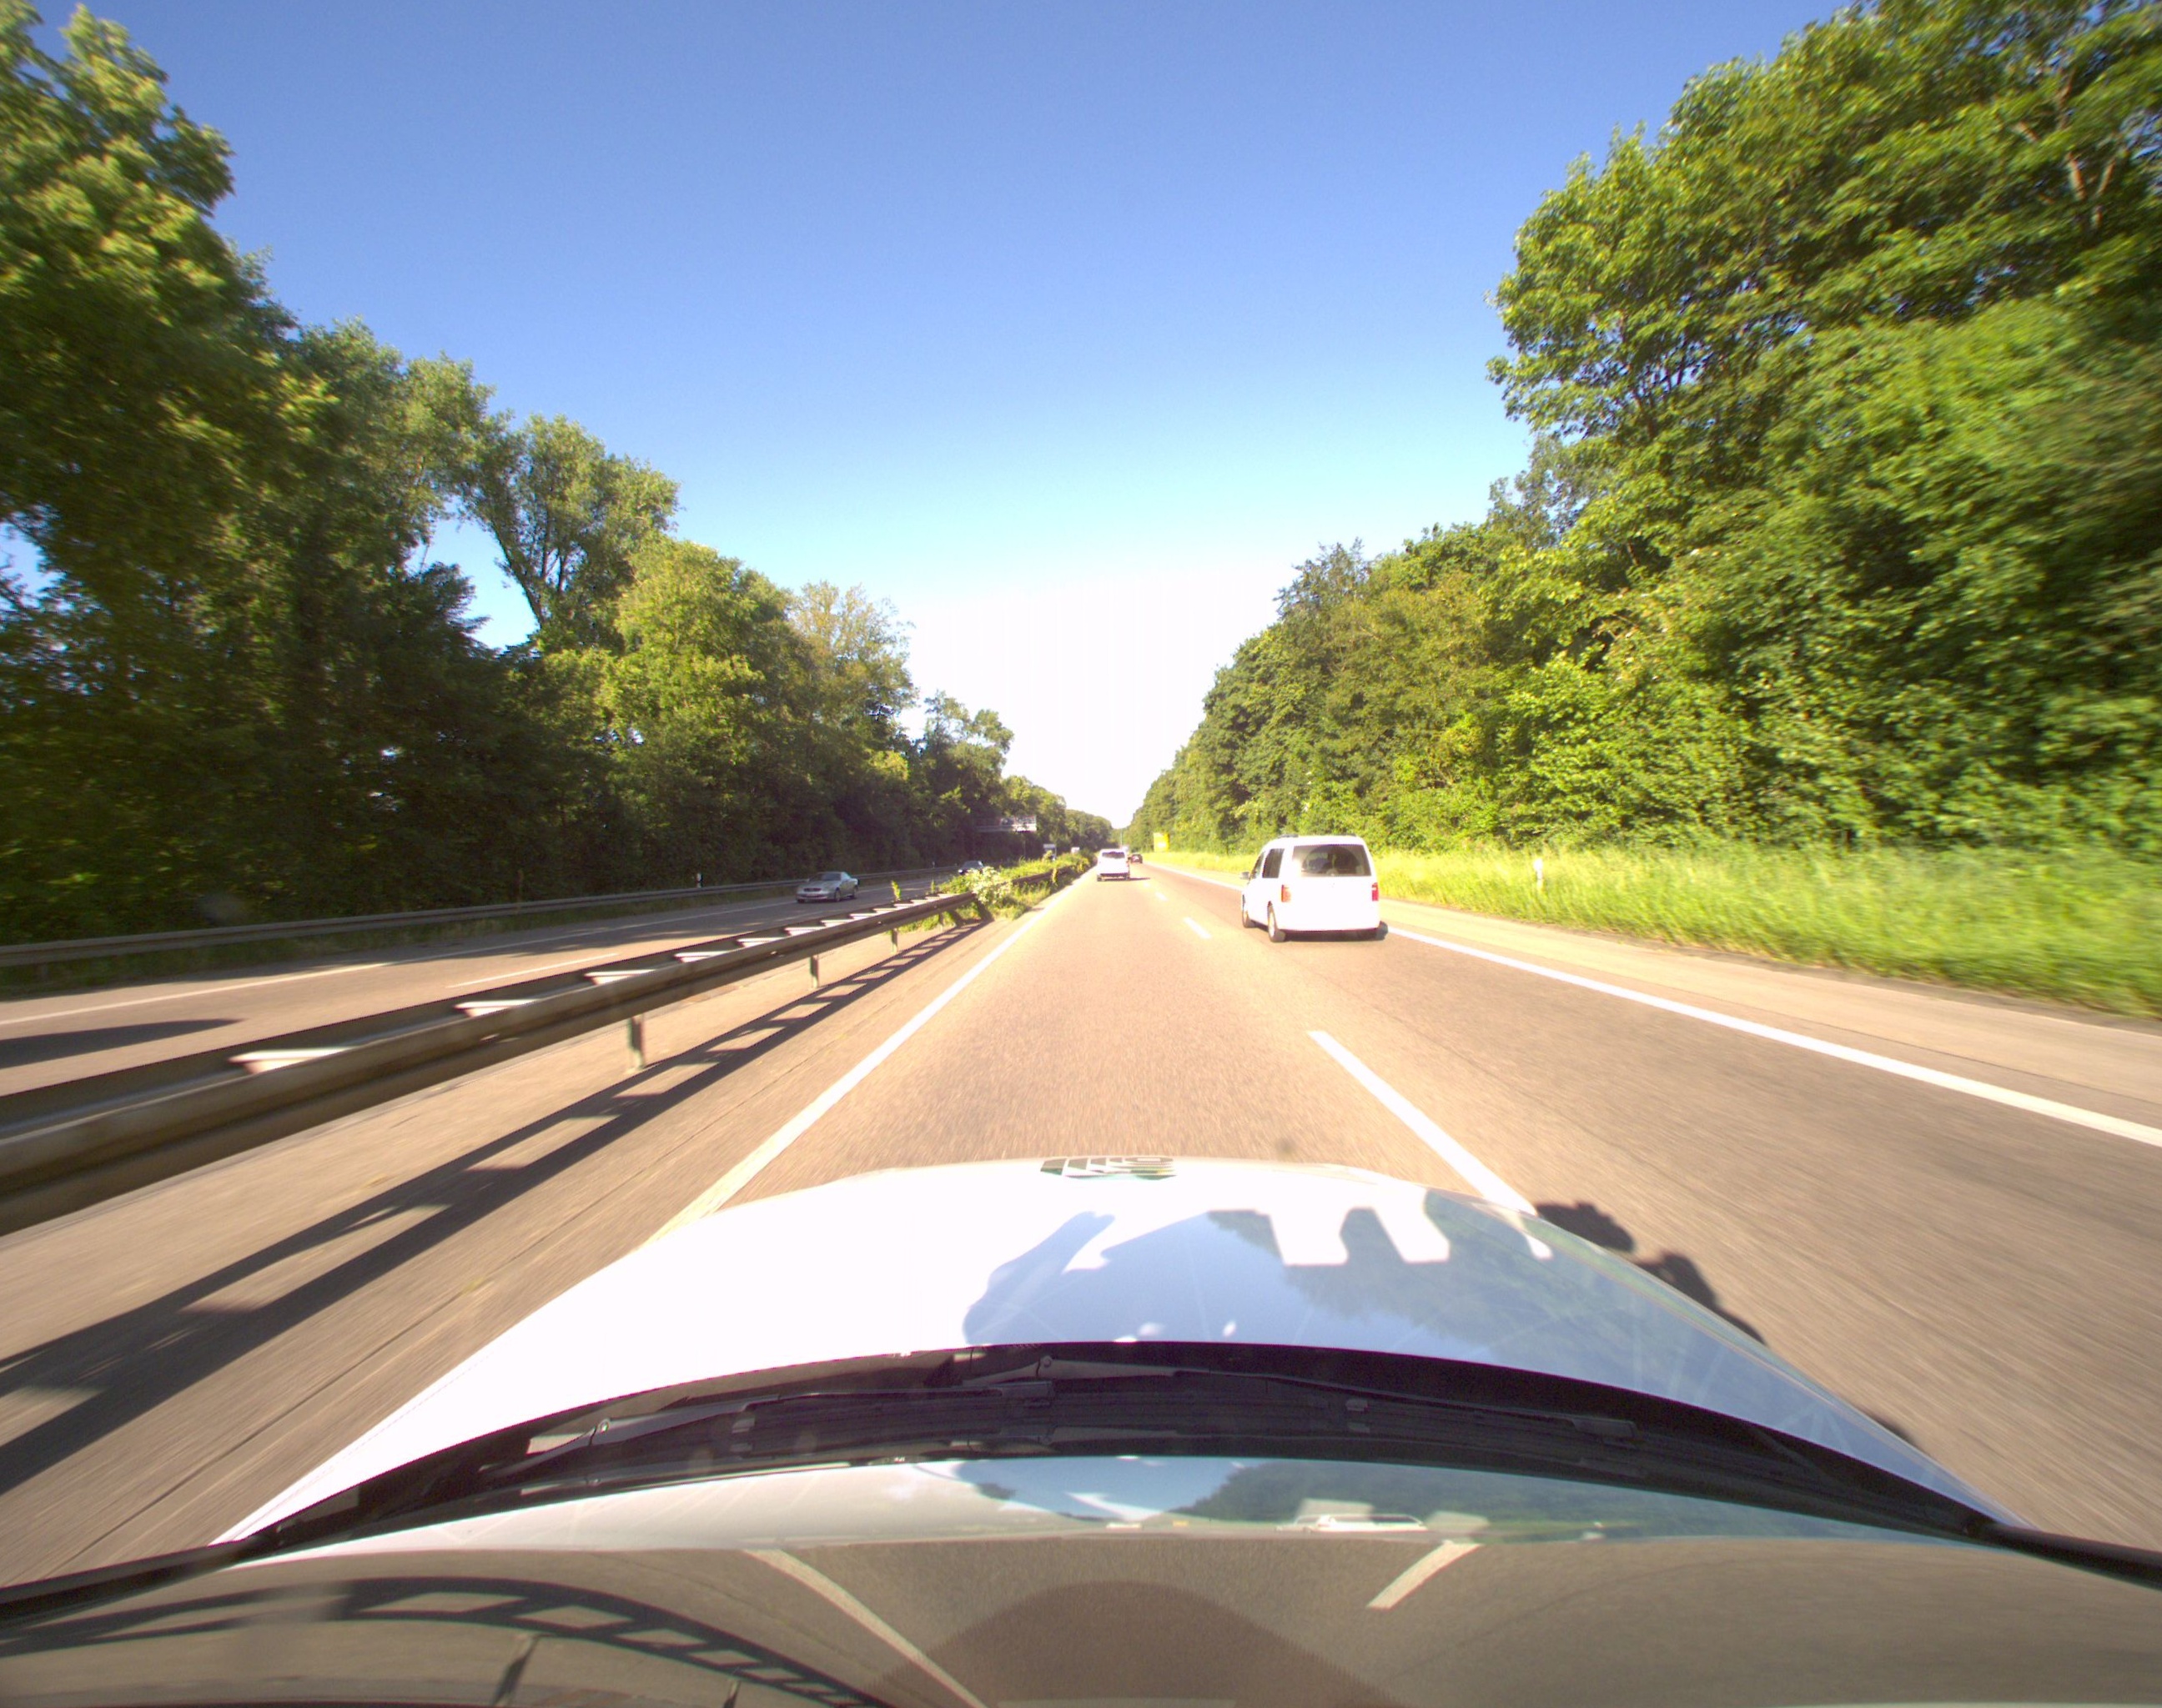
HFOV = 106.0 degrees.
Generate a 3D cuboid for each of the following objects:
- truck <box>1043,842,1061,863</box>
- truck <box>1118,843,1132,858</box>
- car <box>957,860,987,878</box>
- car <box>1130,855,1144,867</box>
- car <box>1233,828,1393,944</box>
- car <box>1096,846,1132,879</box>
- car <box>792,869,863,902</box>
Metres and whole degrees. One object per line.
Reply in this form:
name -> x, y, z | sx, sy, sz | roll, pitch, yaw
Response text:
truck -> -5.841, -0.229, 165.503 | 2.758, 3.955, 11.473 | 0, -1, 3
truck -> 12.656, -0.988, 235.150 | 3.719, 4.343, 9.310 | 0, -1, 2
car -> -9.178, 1.246, 68.711 | 1.726, 1.408, 4.559 | 0, 1, 2
car -> 8.374, 1.022, 122.849 | 1.944, 1.782, 4.589 | 0, -1, 2
car -> 4.096, 0.522, 15.183 | 1.792, 1.813, 4.589 | 0, -1, 2
car -> 1.877, 0.499, 46.559 | 1.944, 1.782, 4.589 | 0, -1, 2
car -> -10.980, 1.326, 35.565 | 1.639, 1.223, 4.265 | -1, 0, 2
